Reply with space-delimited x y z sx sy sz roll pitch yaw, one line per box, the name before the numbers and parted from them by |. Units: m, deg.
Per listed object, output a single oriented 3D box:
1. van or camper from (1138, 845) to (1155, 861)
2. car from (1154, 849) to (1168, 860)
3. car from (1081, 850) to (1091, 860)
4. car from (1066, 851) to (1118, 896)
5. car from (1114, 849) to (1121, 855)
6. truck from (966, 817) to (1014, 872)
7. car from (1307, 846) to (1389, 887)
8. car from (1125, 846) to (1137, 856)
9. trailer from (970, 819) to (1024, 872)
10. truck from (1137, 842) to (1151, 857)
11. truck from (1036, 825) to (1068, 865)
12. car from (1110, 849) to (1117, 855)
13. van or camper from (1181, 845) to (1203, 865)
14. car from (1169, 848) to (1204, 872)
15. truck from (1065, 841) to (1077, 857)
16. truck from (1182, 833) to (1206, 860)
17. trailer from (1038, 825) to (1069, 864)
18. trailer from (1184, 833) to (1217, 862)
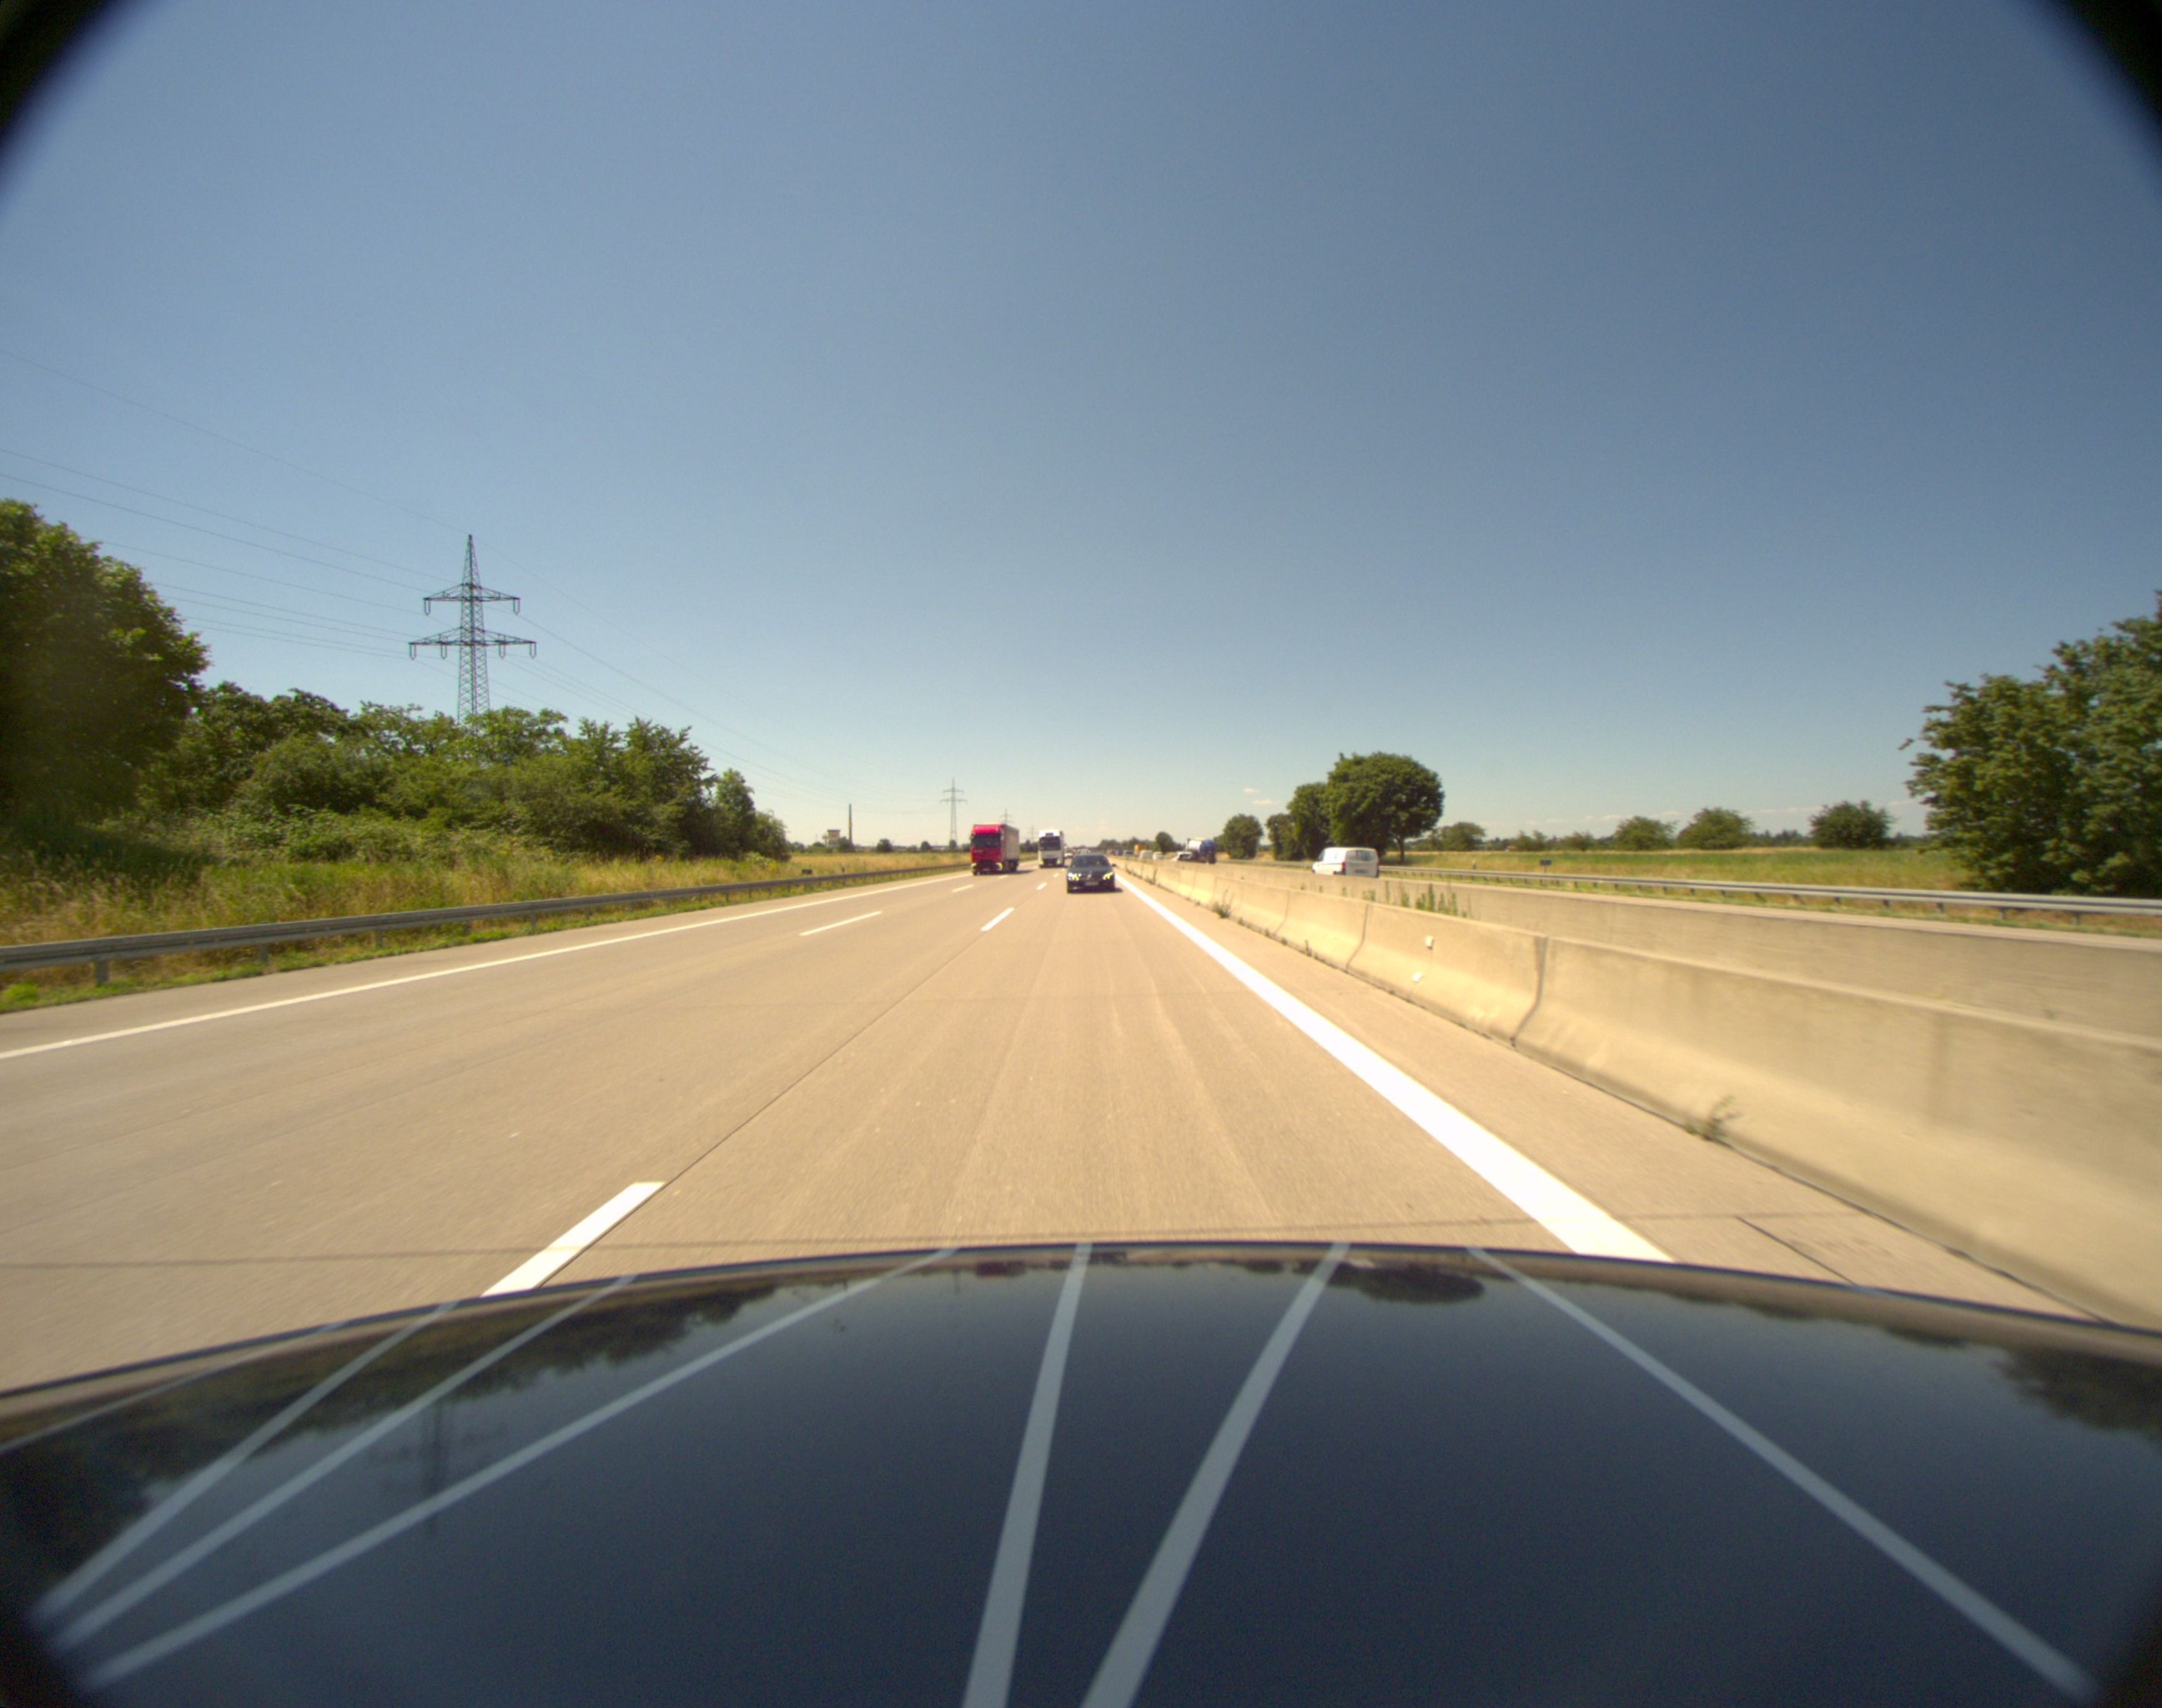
van or camper | 9.577 -0.146 111.244 1.998 2.284 6.469 -2 1 1
car | 14.107 0.032 133.611 1.998 1.893 3.999 -2 1 0
car | 0.958 0.213 155.759 1.998 1.781 4.300 -2 1 0
car | 0.428 0.703 29.860 1.848 1.576 3.939 -2 1 0
car | 11.449 -0.572 236.433 1.998 1.781 4.300 -2 1 0
truck | -7.224 -0.755 61.421 2.960 4.122 6.151 -2 1 0
car | 13.553 0.567 38.988 2.258 1.947 5.684 0 1 0
car | 10.013 -0.546 152.775 1.998 1.893 3.999 -2 1 0
trailer | -7.228 -0.774 67.743 2.960 4.122 13.808 -2 1 1
truck | 18.996 -1.309 230.567 3.421 4.469 9.999 -2 1 1
truck | -3.067 -0.978 82.298 2.960 4.122 6.151 -2 1 0
car | 10.908 -0.715 253.815 1.998 1.781 4.300 -2 1 0
van or camper | 13.430 0.084 91.840 1.942 2.207 4.796 -2 1 0
car | 9.511 0.518 68.892 2.258 2.002 5.978 -2 1 0
truck | -2.625 -1.298 207.046 2.960 4.122 10.016 -2 1 1
truck | 17.359 -1.159 116.822 2.663 3.946 6.619 0 1 0
trailer | -3.042 -1.098 87.935 2.960 4.122 12.024 -2 1 1
trailer | 17.402 -0.928 111.456 2.684 3.946 13.005 0 1 0
